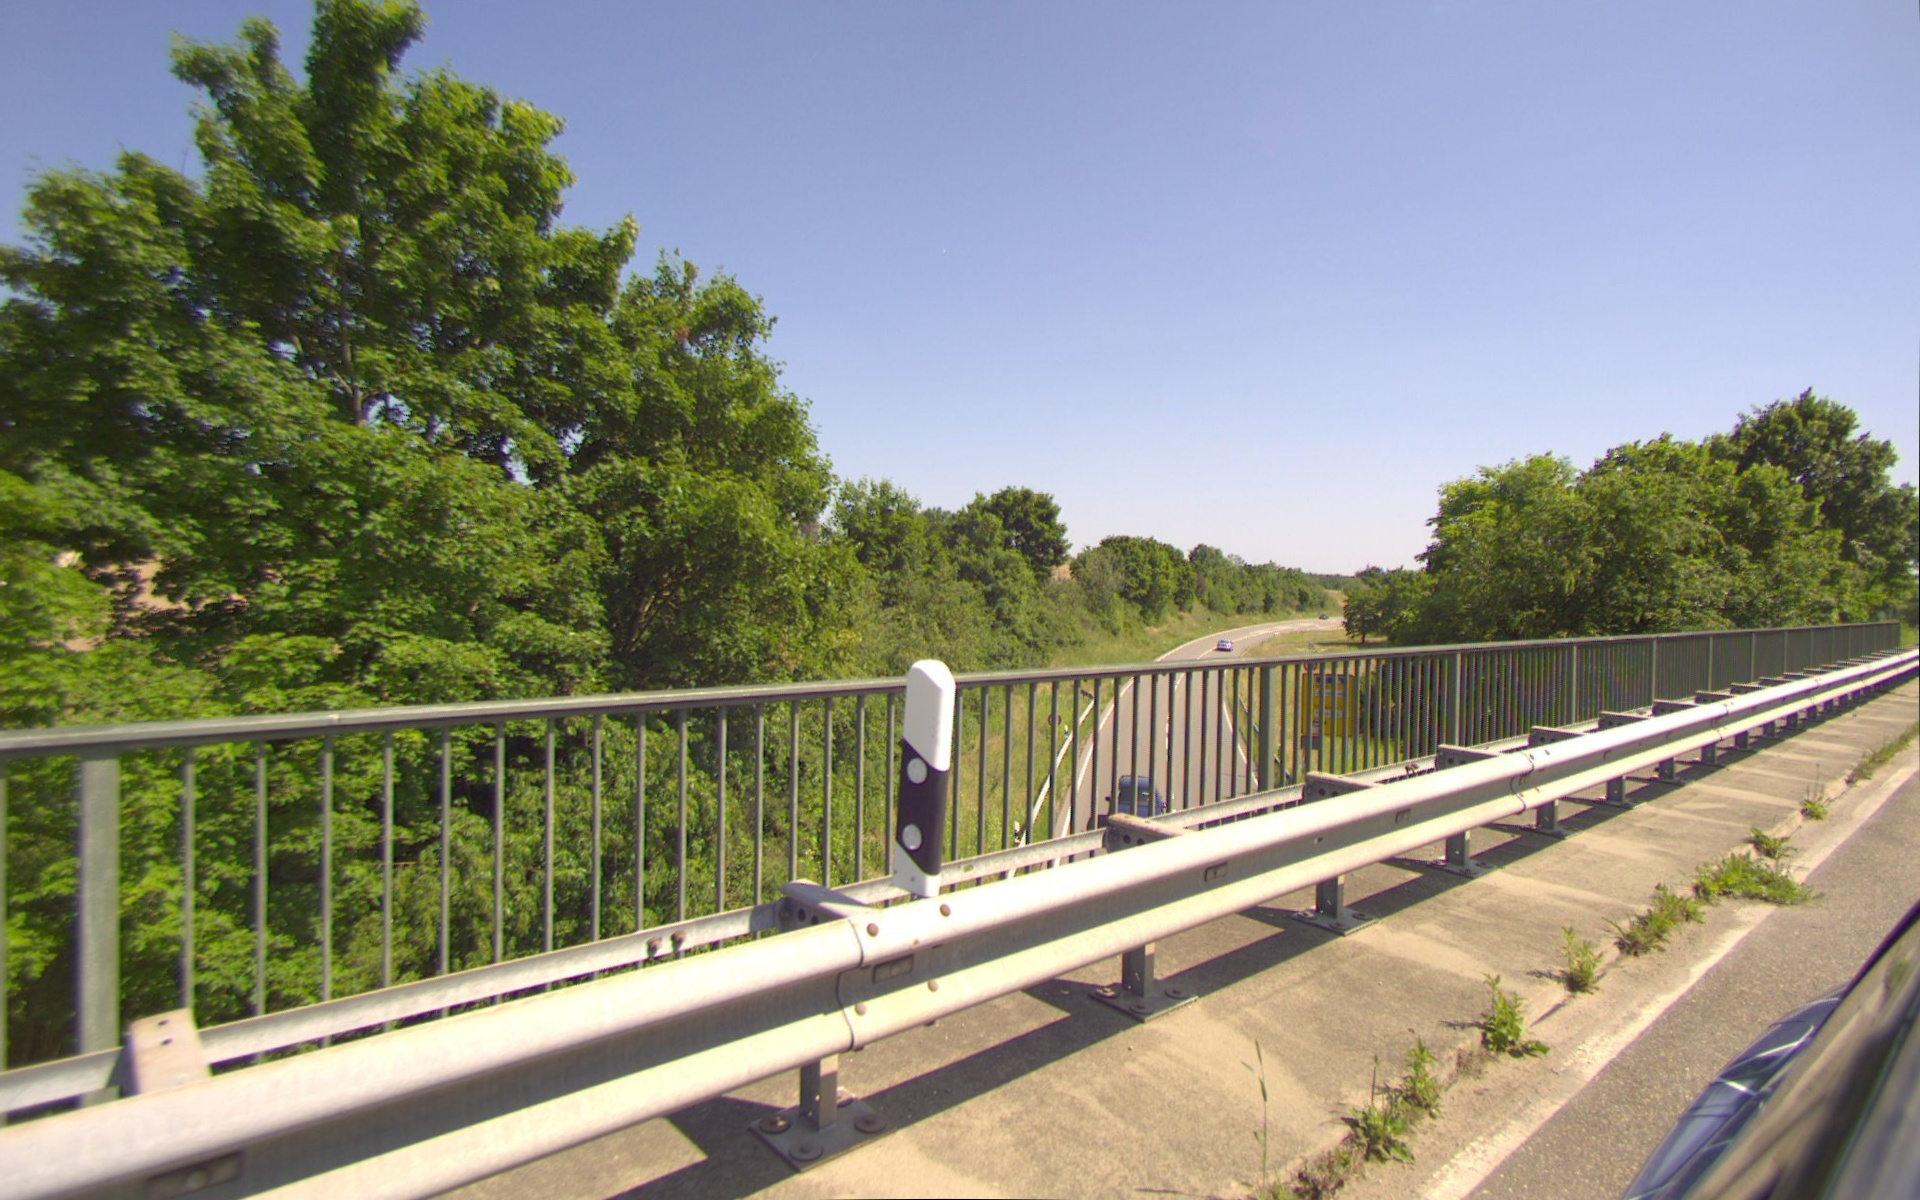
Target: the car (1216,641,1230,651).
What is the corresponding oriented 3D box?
[{"bbox_3d":[34.531,6.056,132.919,1.499,1.212,3.406,-1,-4,11],"label":"car"}]
